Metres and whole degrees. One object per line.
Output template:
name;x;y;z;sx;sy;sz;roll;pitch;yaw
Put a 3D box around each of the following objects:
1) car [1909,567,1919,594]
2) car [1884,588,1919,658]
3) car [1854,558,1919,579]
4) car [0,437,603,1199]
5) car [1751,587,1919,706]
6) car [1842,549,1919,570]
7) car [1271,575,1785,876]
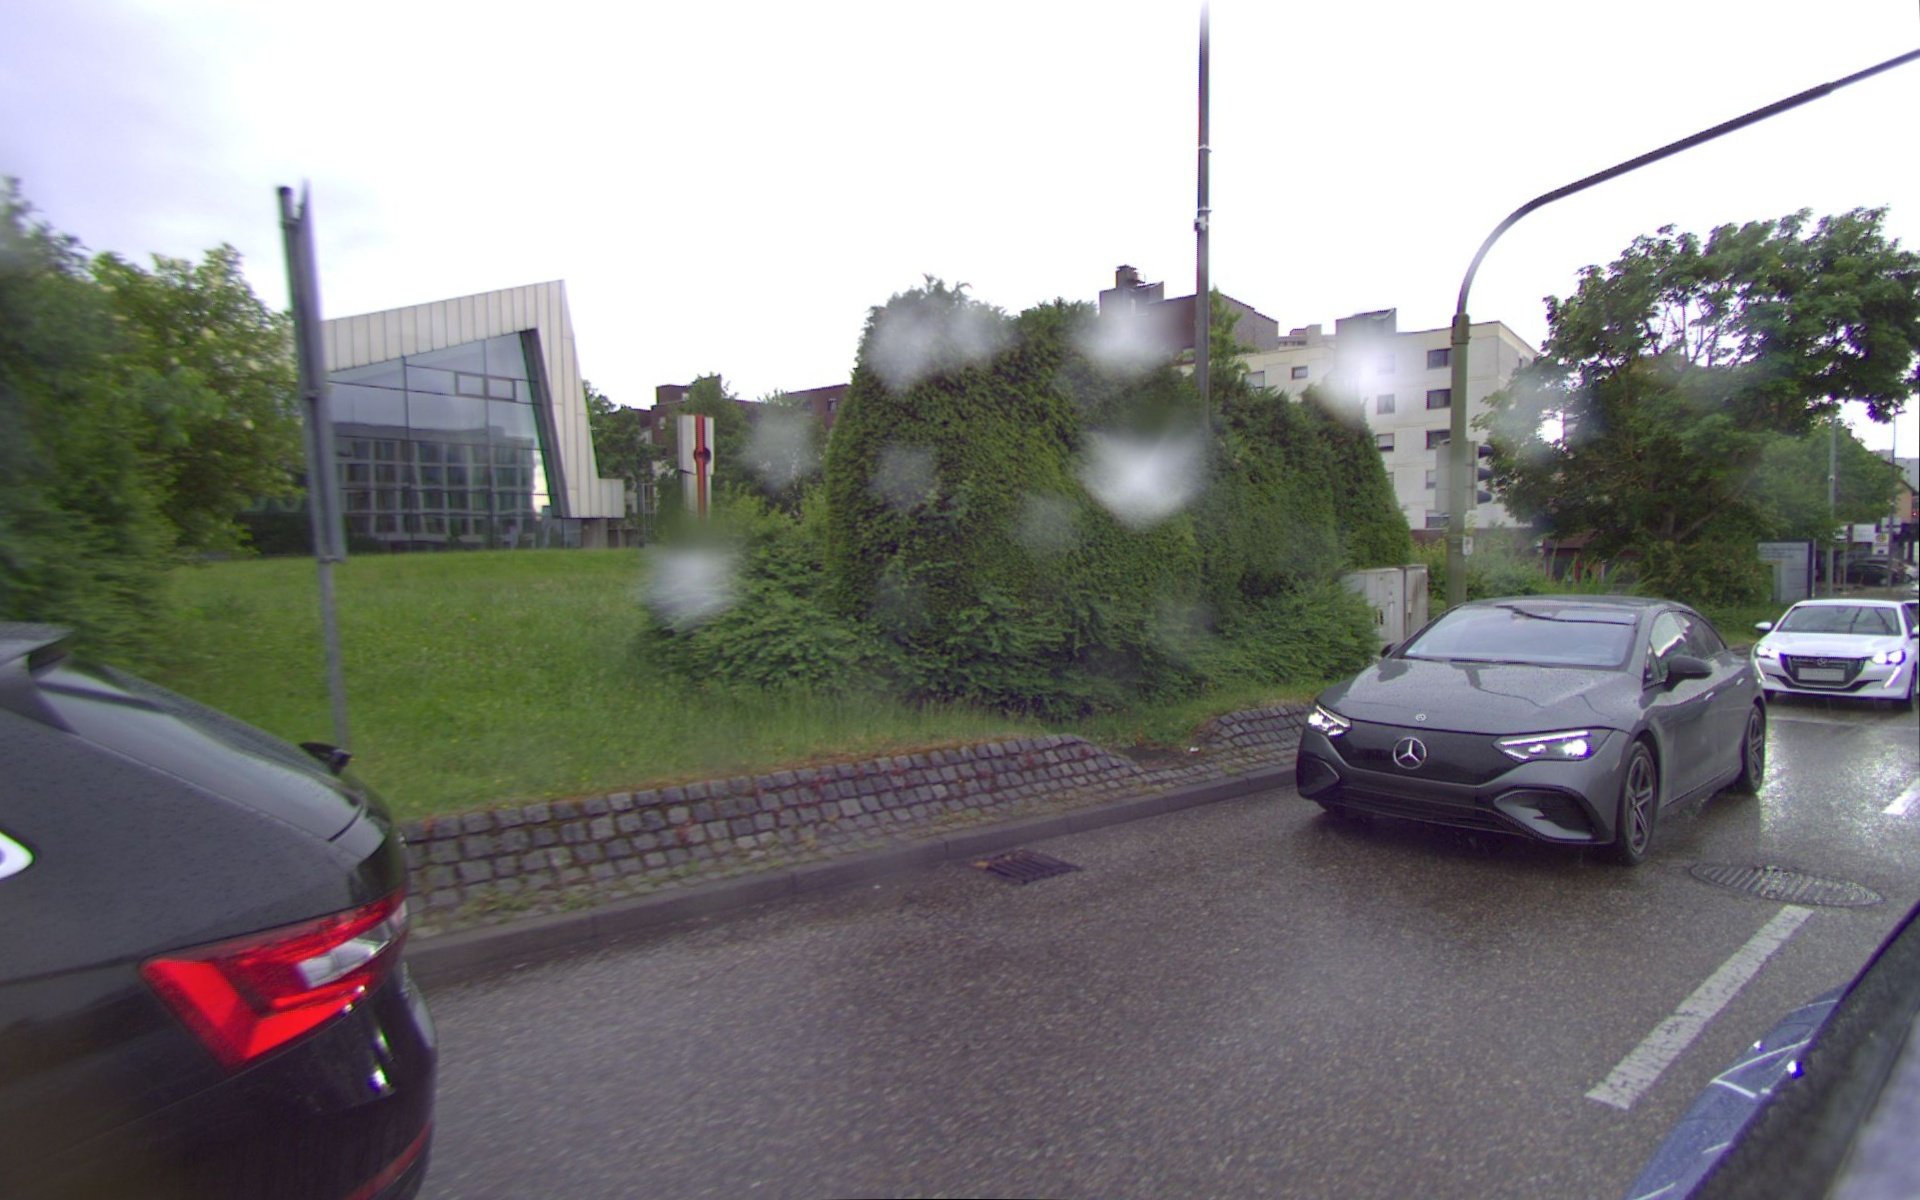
car;51.441;-0.986;53.042;3.737;1.367;1.999;-2;5;-40
car;21.460;0.461;21.895;3.669;1.394;1.717;-2;1;-40
car;65.046;-2.180;70.597;3.982;1.438;1.971;0;2;41
car;-2.926;0.615;0.901;4.530;1.526;1.956;-2;0;-42
car;12.893;0.556;14.474;3.965;1.414;1.717;-2;1;-40
car;65.957;-2.898;72.603;3.982;1.438;1.678;0;1;41
car;4.219;0.579;7.154;4.473;1.462;1.834;-1;1;-42
